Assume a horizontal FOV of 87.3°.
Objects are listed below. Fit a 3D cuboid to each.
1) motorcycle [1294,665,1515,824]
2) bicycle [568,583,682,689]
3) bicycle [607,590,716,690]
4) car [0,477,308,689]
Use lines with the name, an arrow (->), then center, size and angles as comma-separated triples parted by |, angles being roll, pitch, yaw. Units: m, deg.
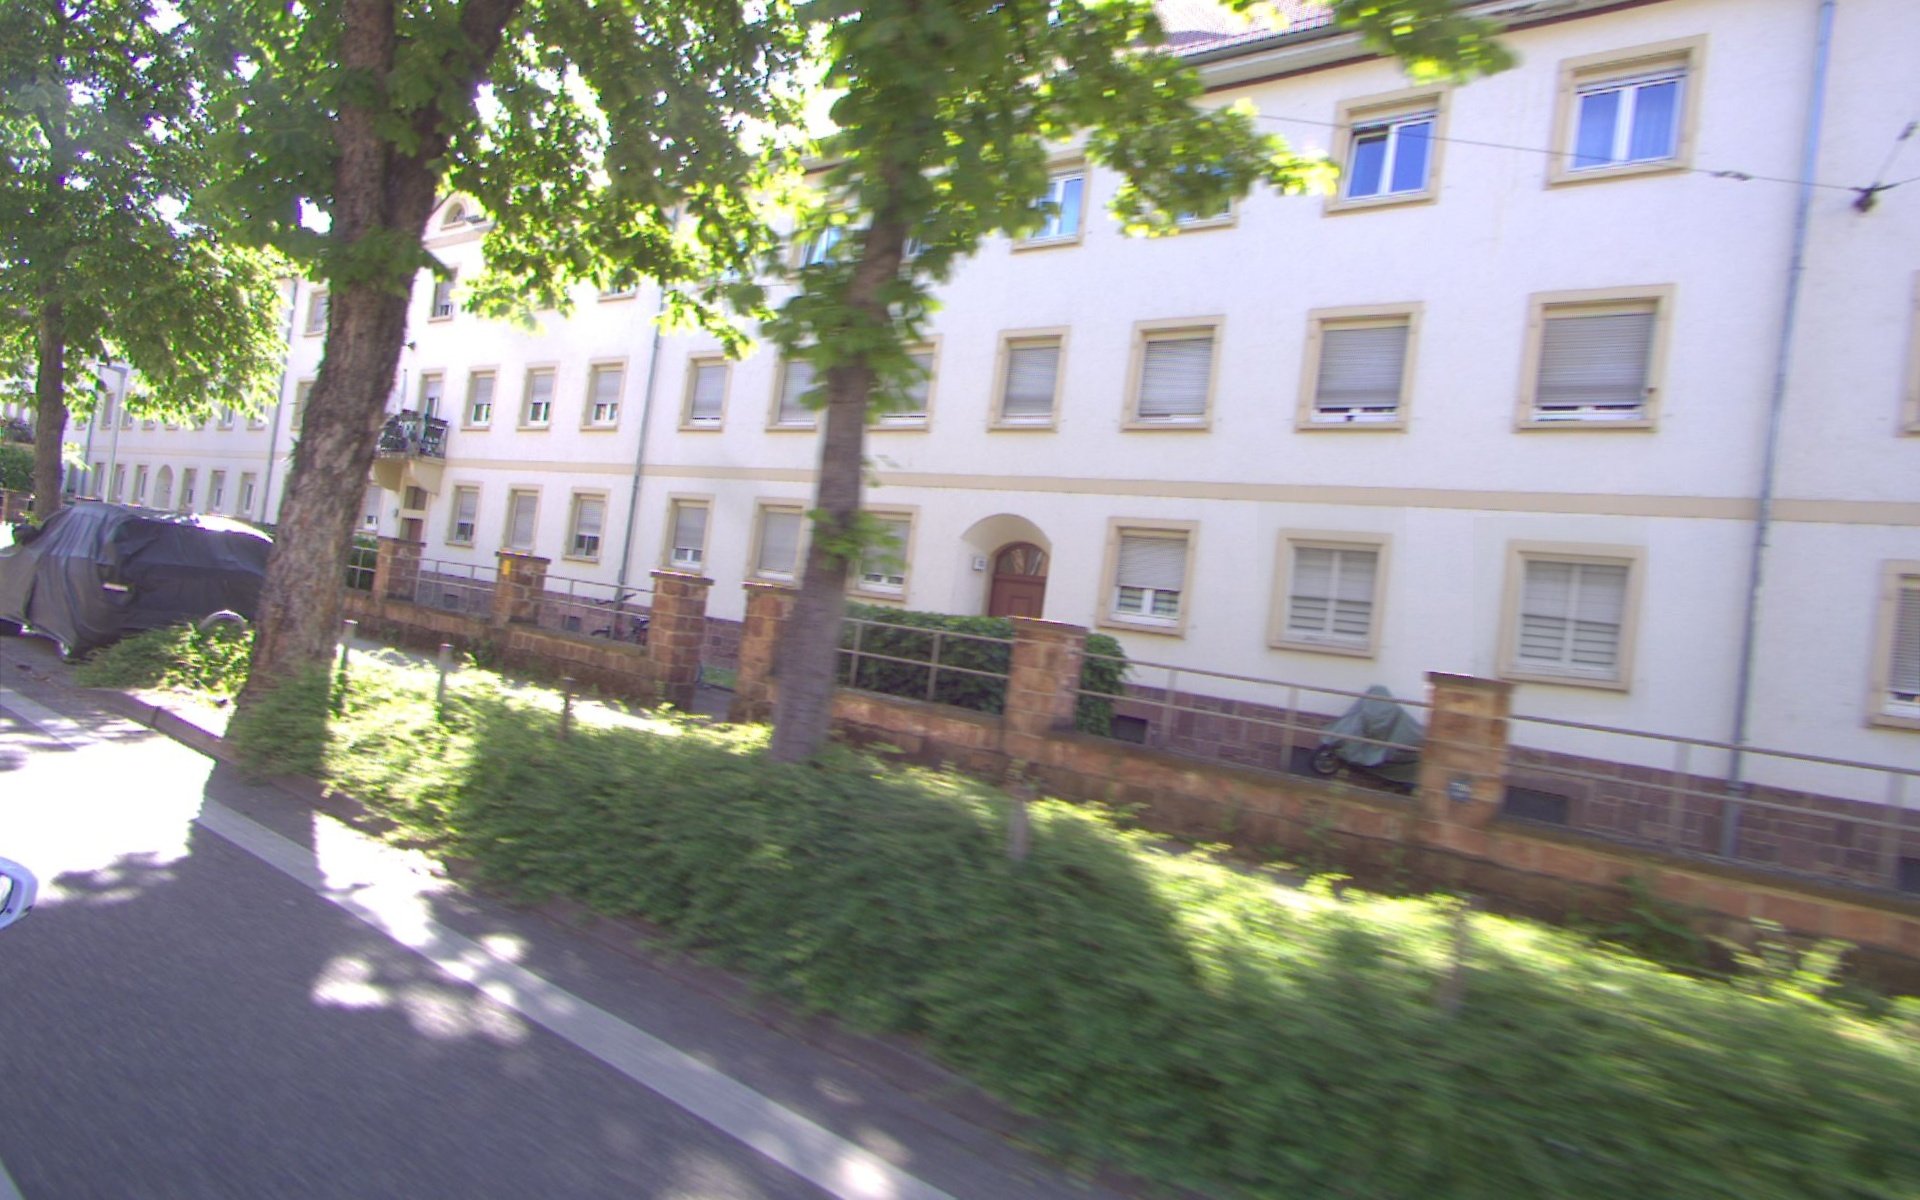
motorcycle -> 5.441, 1.734, 12.376 | 2.222, 1.504, 0.808 | 7, -2, 34
bicycle -> -4.687, 0.490, 14.033 | 1.648, 1.253, 0.448 | 7, 0, 34
bicycle -> -4.399, 0.577, 14.773 | 1.648, 1.253, 0.448 | 7, 0, 34
car -> -9.450, -0.262, 11.363 | 4.406, 1.785, 1.747 | 7, -3, 34
